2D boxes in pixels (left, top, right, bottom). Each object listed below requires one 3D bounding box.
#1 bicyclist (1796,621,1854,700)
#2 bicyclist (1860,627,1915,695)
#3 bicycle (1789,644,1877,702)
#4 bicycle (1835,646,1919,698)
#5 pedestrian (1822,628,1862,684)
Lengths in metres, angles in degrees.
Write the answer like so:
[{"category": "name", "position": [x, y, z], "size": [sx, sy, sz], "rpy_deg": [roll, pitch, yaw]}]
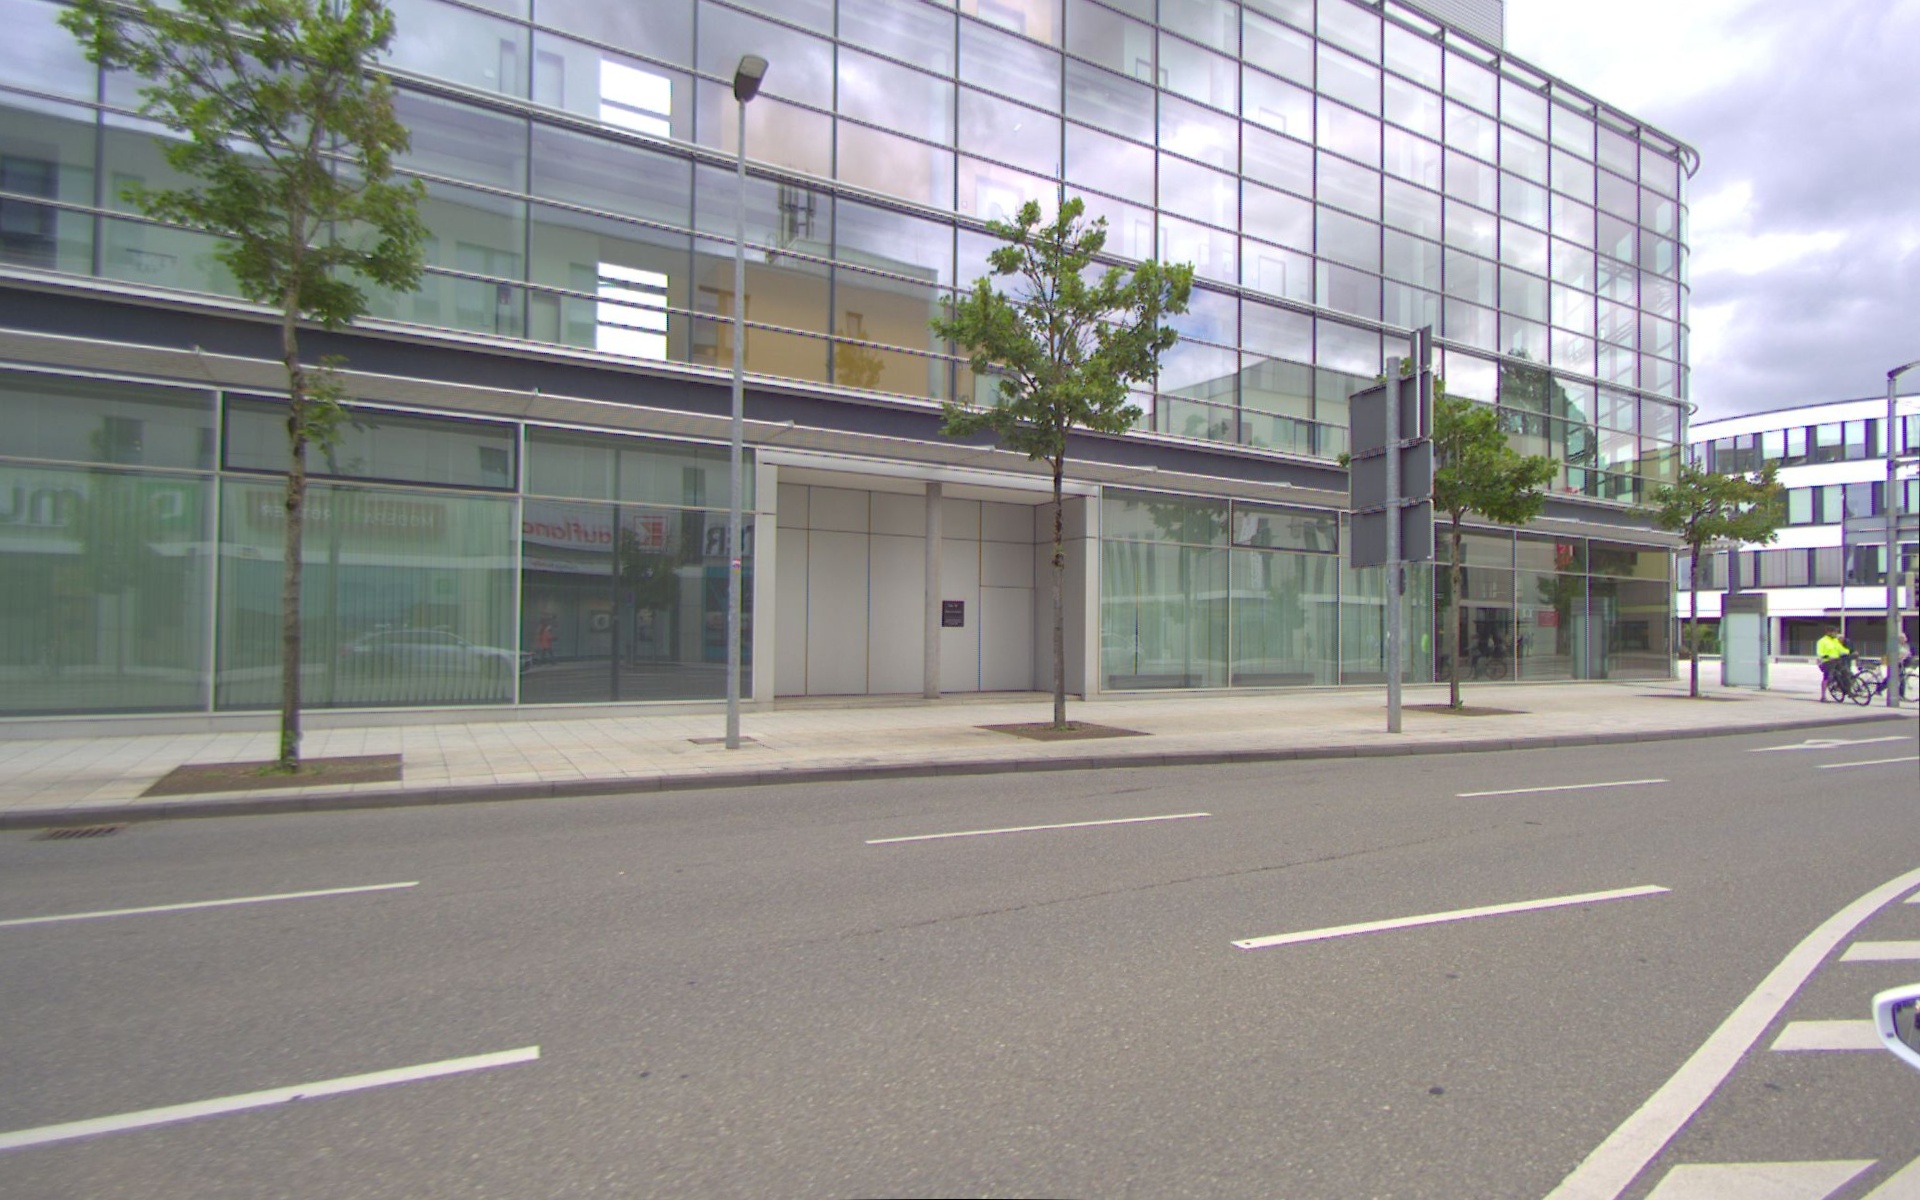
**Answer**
[{"category": "bicyclist", "position": [21.020, 1.451, 24.428], "size": [0.732, 1.824, 0.774], "rpy_deg": [2, 1, 14]}, {"category": "bicyclist", "position": [23.842, 1.564, 25.835], "size": [0.627, 1.671, 0.782], "rpy_deg": [2, 1, -15]}, {"category": "bicycle", "position": [21.163, 1.735, 24.394], "size": [0.732, 1.222, 2.032], "rpy_deg": [2, 1, 14]}, {"category": "bicycle", "position": [23.824, 1.832, 25.802], "size": [0.627, 1.145, 2.000], "rpy_deg": [2, 1, -14]}, {"category": "pedestrian", "position": [32.320, 2.045, 36.817], "size": [0.885, 1.971, 0.750], "rpy_deg": [1, 0, 22]}]
